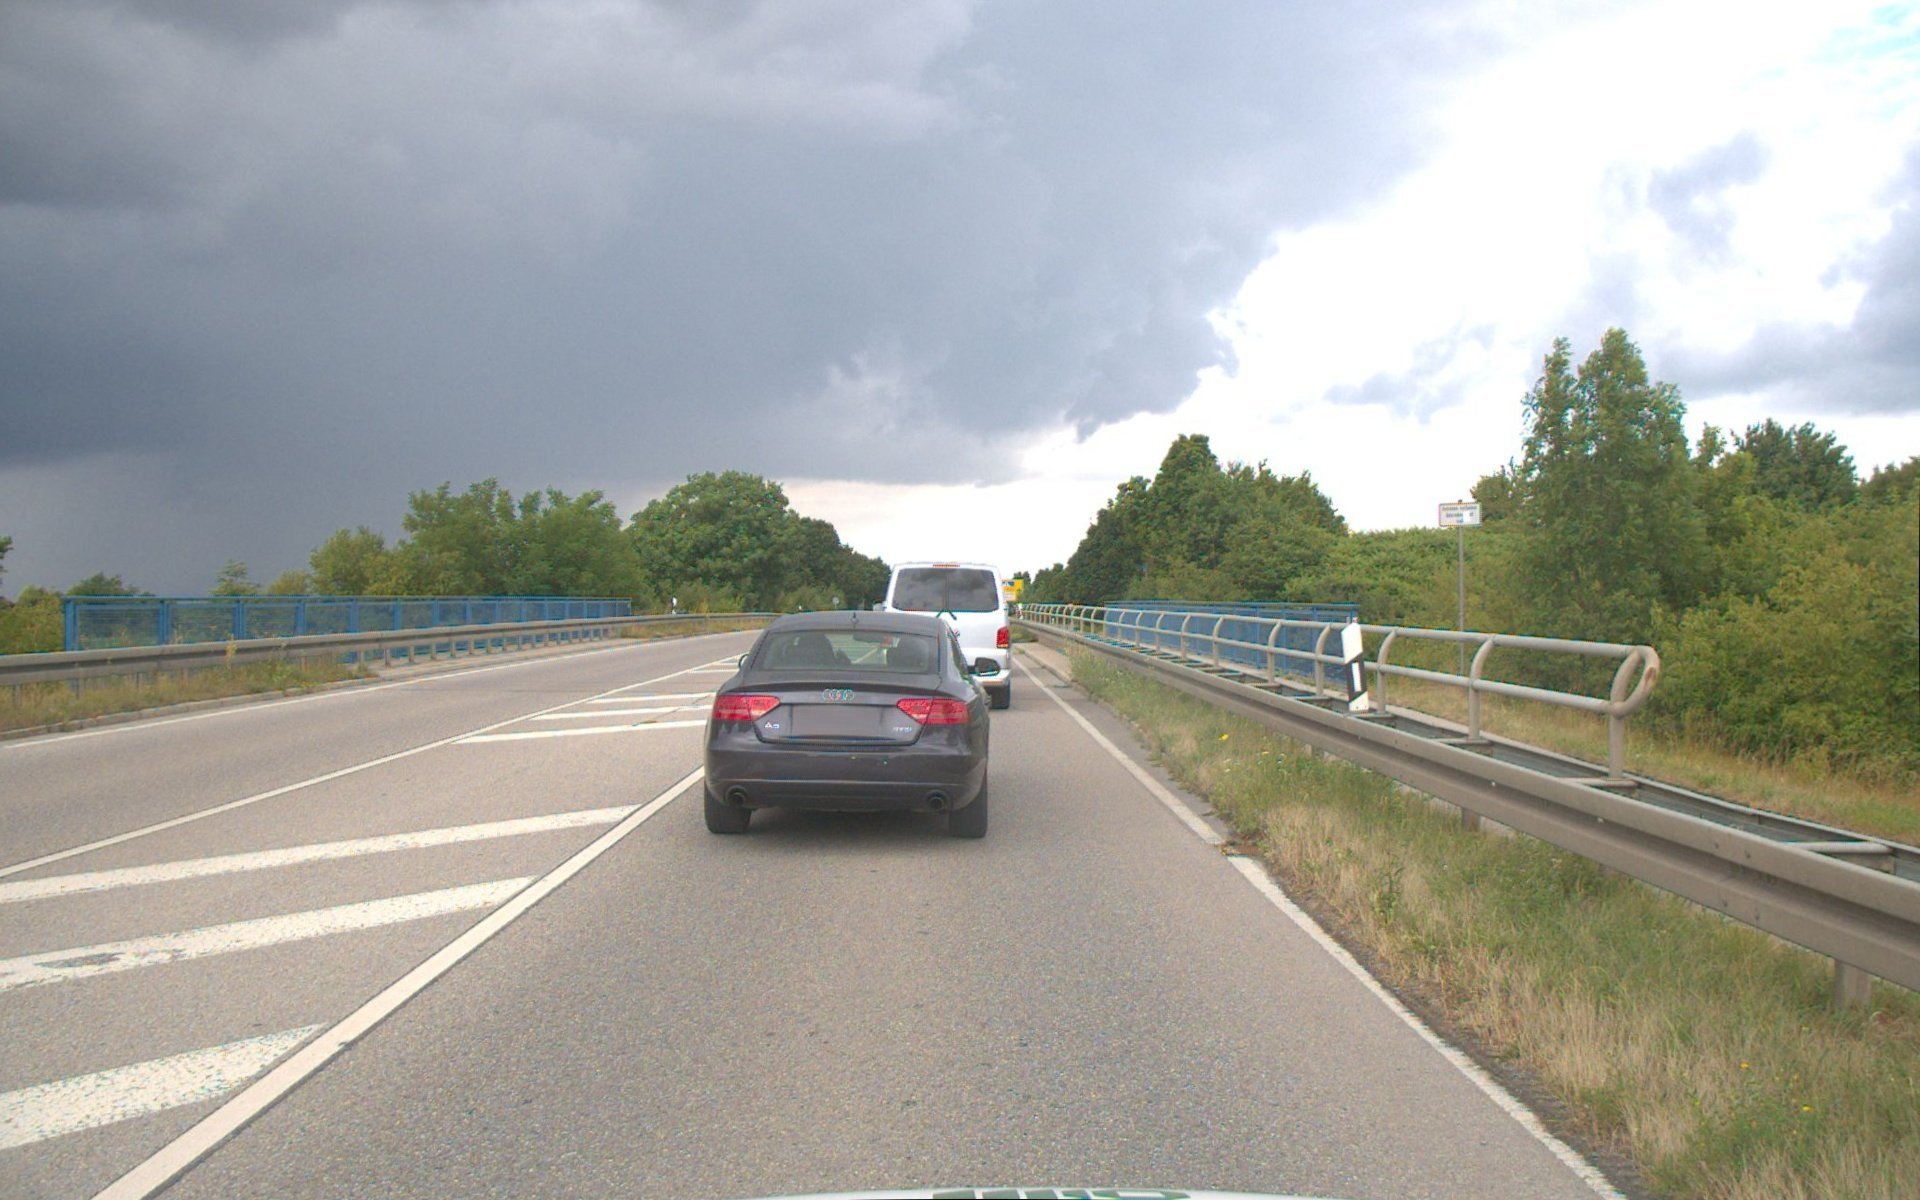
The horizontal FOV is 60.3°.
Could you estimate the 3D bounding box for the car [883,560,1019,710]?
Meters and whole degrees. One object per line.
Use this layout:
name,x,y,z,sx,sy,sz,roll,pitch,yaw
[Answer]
car,-0.134,0.468,23.789,1.791,1.969,3.999,0,0,-1

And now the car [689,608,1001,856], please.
car,-0.634,0.765,11.495,1.784,1.405,4.072,0,0,1

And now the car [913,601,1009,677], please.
car,0.040,0.736,33.176,1.784,1.405,4.072,0,0,1
